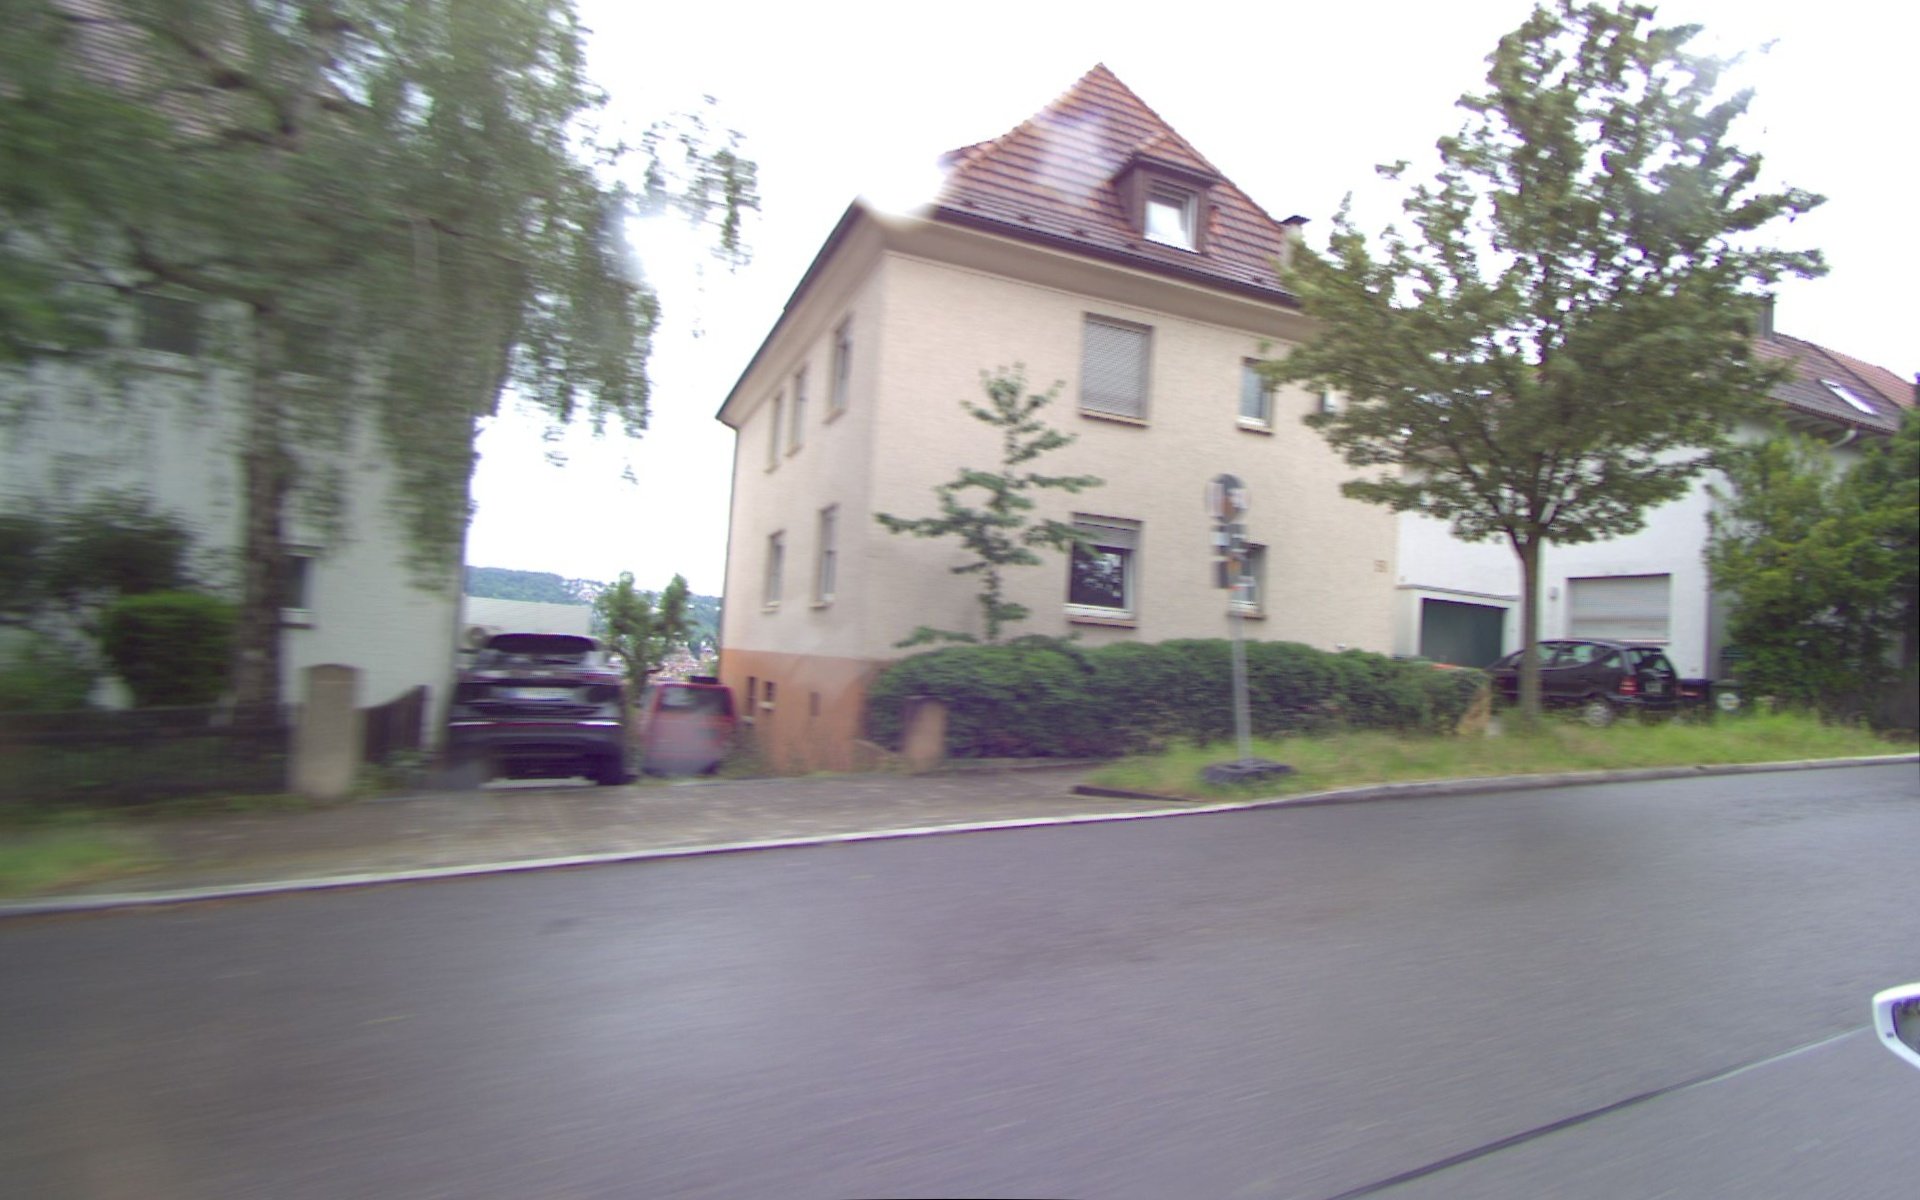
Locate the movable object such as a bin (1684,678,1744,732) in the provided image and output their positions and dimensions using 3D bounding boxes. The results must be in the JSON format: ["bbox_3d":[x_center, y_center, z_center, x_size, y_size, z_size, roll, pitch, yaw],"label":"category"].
[{"bbox_3d":[13.898,1.928,18.535,0.583,0.933,0.668,1,0,-20],"label":"movable object such as a bin"}]

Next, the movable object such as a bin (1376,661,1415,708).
[{"bbox_3d":[9.089,1.760,20.965,0.547,0.933,0.508,1,0,-20],"label":"movable object such as a bin"}]

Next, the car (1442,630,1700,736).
[{"bbox_3d":[11.595,1.503,19.389,1.835,1.564,3.934,2,1,-20],"label":"car"}]

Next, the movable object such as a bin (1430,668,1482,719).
[{"bbox_3d":[9.665,1.808,19.574,0.583,0.933,0.685,1,0,-20],"label":"movable object such as a bin"}]

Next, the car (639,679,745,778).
[{"bbox_3d":[-5.904,2.701,21.842,1.884,1.902,4.236,1,-5,-20],"label":"car"}]

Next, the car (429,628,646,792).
[{"bbox_3d":[-4.726,1.358,11.659,1.884,1.523,4.239,2,-9,-19],"label":"car"}]

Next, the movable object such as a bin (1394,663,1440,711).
[{"bbox_3d":[9.285,1.758,20.416,0.583,0.933,0.613,1,0,-20],"label":"movable object such as a bin"}]
